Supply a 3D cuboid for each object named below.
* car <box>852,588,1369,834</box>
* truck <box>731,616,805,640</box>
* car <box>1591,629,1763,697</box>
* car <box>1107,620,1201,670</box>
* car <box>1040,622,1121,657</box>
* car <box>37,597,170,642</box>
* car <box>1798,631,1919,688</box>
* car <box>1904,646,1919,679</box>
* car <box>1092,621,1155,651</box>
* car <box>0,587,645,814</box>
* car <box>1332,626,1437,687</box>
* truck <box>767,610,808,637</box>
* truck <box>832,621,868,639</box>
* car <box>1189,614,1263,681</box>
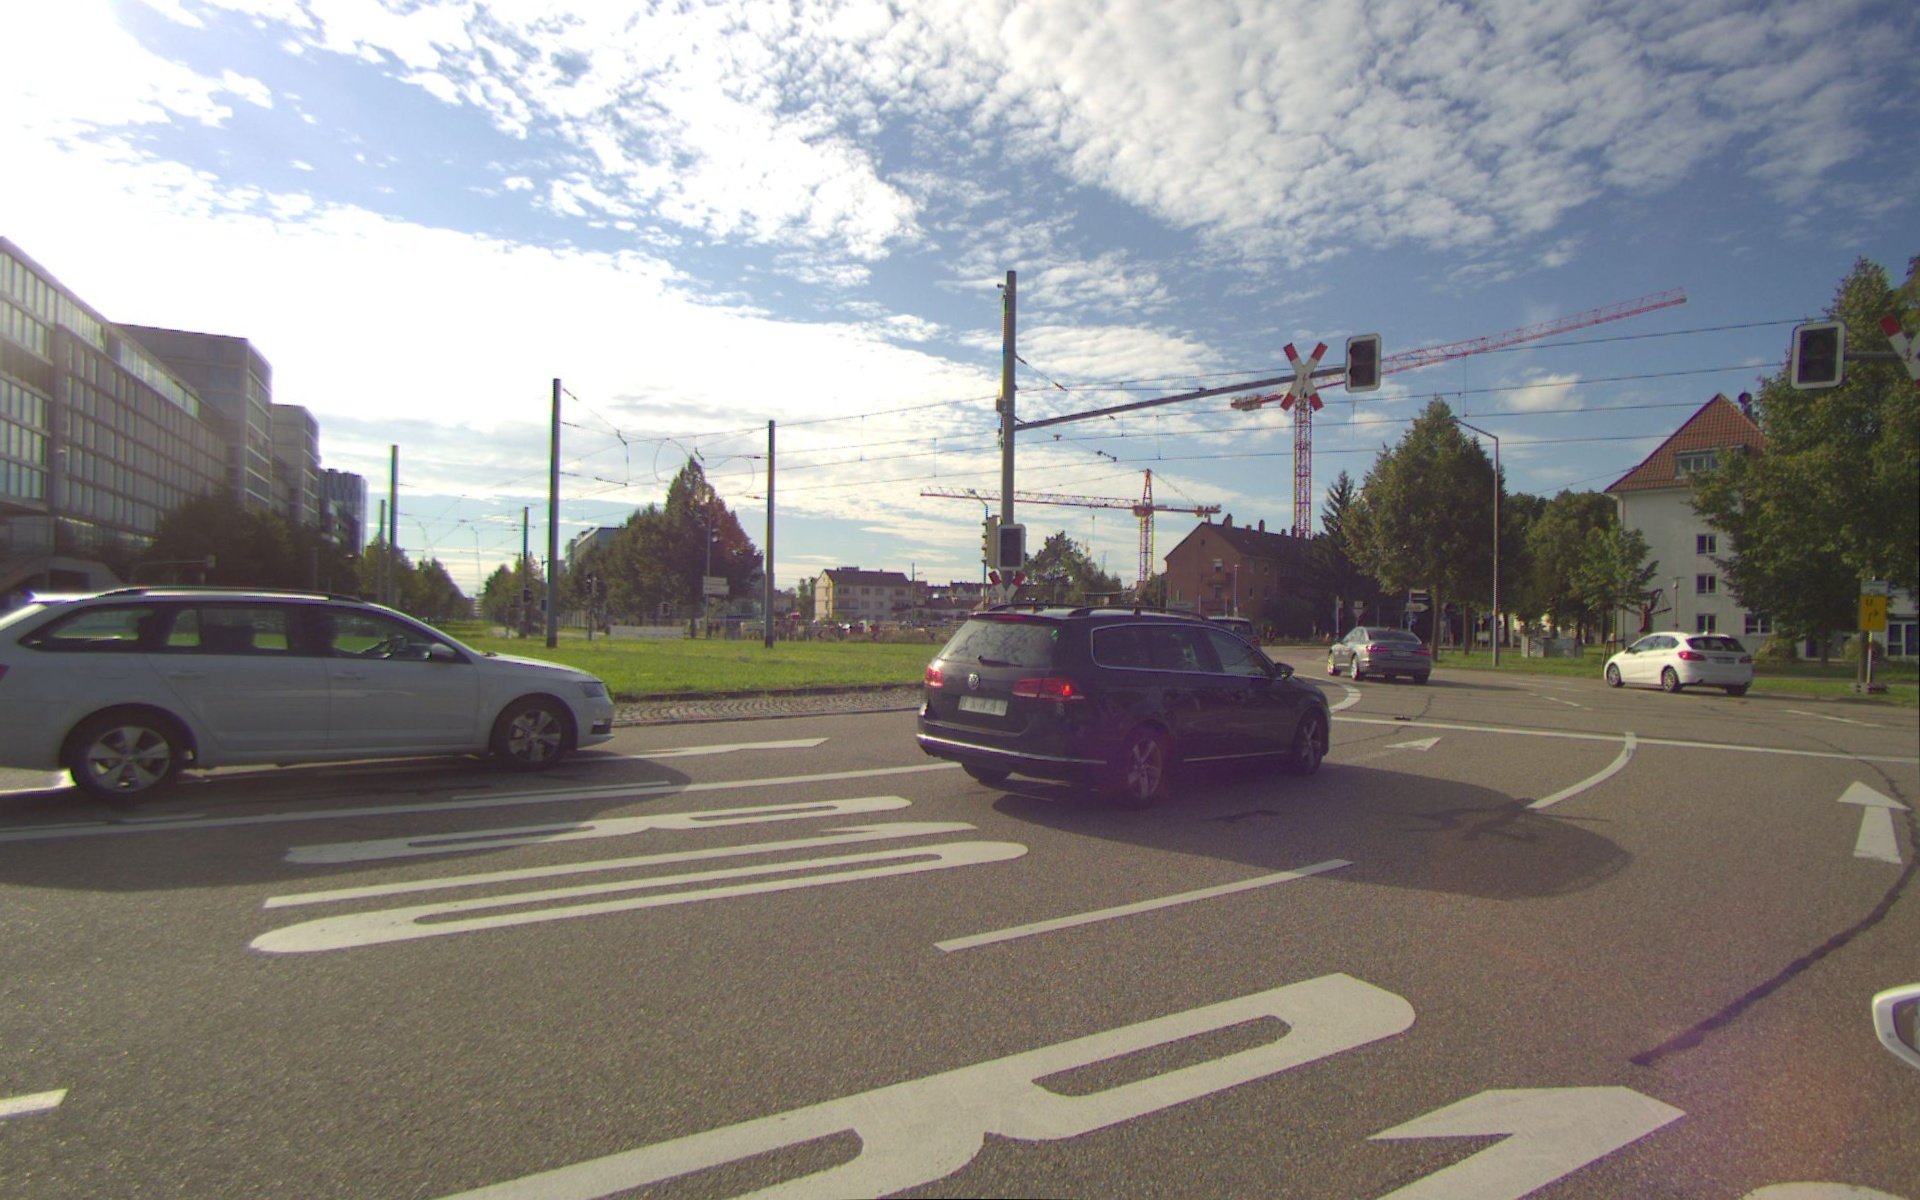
[{"bbox_3d":[1.574,0.802,8.950,4.811,1.587,1.975,3,-1,-43],"label":"car"},{"bbox_3d":[-22.176,3.198,116.116,7.761,2.601,3.053,2,-2,-28],"label":"truck"},{"bbox_3d":[19.269,1.630,27.261,1.819,1.593,4.458,2,-1,6],"label":"car"},{"bbox_3d":[6.973,1.587,36.538,1.965,1.561,3.993,3,-1,-10],"label":"car"},{"bbox_3d":[5.757,1.863,48.583,1.832,1.497,4.426,3,-1,-25],"label":"car"},{"bbox_3d":[-46.509,1.095,54.759,2.025,2.293,6.025,-1,-1,1],"label":"car"},{"bbox_3d":[26.057,1.660,27.559,4.596,1.450,1.891,1,-1,44],"label":"car"},{"bbox_3d":[42.590,2.711,43.833,4.486,1.399,1.837,3,-2,-44],"label":"car"},{"bbox_3d":[11.655,2.573,71.456,4.624,1.928,1.880,3,-1,-41],"label":"car"},{"bbox_3d":[-5.214,0.682,8.372,4.597,1.464,1.836,2,0,-38],"label":"car"},{"bbox_3d":[11.673,1.497,27.935,1.819,1.464,4.718,2,-1,12],"label":"car"},{"bbox_3d":[-22.344,3.045,130.042,2.784,3.249,7.256,2,-2,-31],"label":"truck"},{"bbox_3d":[-14.841,4.030,135.095,2.308,2.358,6.400,2,-2,-31],"label":"truck"},{"bbox_3d":[7.112,1.243,27.146,1.737,1.593,4.070,2,-1,13],"label":"car"}]
